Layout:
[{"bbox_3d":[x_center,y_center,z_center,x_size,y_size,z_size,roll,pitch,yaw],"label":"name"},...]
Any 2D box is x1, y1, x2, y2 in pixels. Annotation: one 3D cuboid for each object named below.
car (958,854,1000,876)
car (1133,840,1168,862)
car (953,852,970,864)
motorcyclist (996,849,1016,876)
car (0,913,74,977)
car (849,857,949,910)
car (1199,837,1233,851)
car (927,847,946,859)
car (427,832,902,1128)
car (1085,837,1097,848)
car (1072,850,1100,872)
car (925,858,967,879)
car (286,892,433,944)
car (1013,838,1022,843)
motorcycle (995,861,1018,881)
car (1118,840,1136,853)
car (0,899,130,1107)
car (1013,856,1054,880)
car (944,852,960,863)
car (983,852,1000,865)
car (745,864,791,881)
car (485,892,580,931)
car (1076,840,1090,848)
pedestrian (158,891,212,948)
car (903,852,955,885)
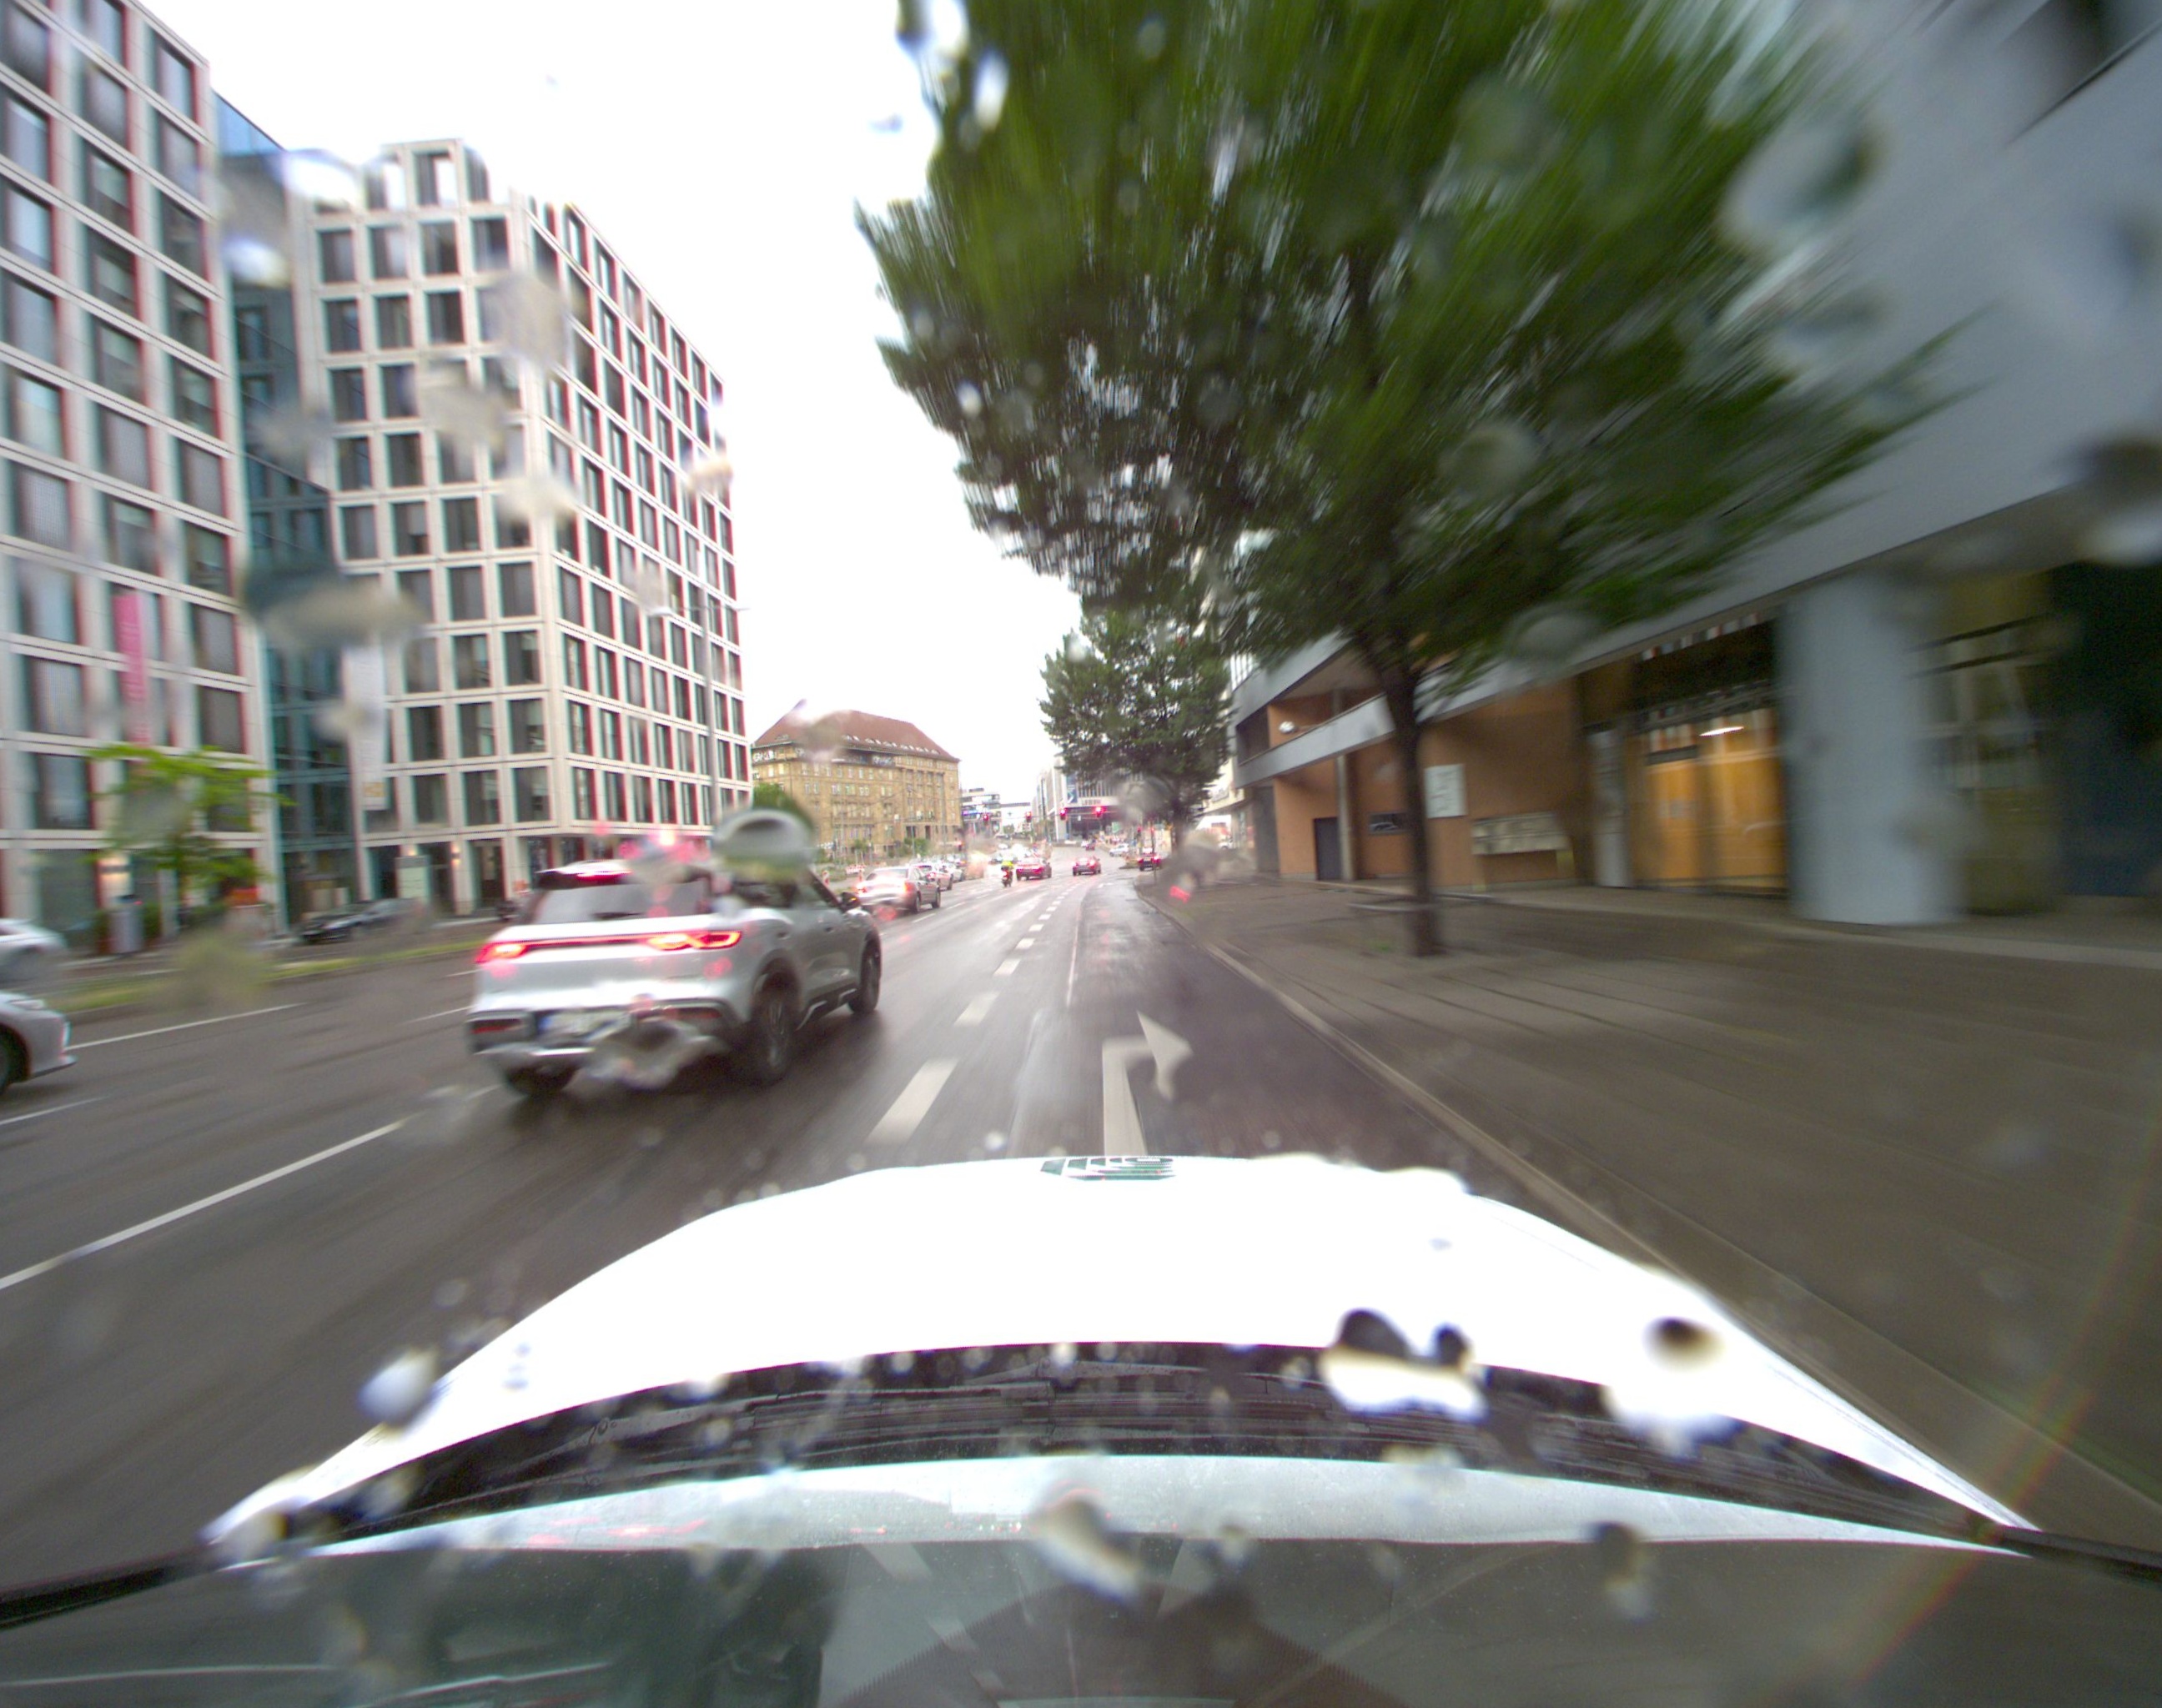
[{"bbox_3d":[-8.219,0.840,65.820,1.769,1.599,4.091,-3,0,17],"label":"car"},{"bbox_3d":[5.443,-0.258,63.258,1.877,1.544,4.010,-3,0,16],"label":"car"},{"bbox_3d":[-16.995,0.523,115.689,1.796,1.574,4.073,-3,0,-1],"label":"car"},{"bbox_3d":[-4.193,0.483,45.678,0.938,1.475,1.101,-3,0,2],"label":"motorcyclist"},{"bbox_3d":[-26.732,2.314,18.659,1.692,1.423,4.374,-5,0,1],"label":"car"},{"bbox_3d":[-5.603,0.866,25.610,1.724,1.403,4.389,-3,0,5],"label":"car"},{"bbox_3d":[17.635,-1.340,106.244,3.983,1.640,1.995,-3,0,-7],"label":"car"},{"bbox_3d":[-19.917,-0.133,112.349,1.692,1.519,3.875,-5,0,1],"label":"car"},{"bbox_3d":[-2.919,0.744,6.903,1.802,1.661,4.170,-3,0,0],"label":"car"},{"bbox_3d":[2.004,-2.377,163.772,1.989,2.013,3.997,-3,0,-2],"label":"car"},{"bbox_3d":[0.429,0.471,62.512,1.775,1.402,4.491,-3,2,4],"label":"car"},{"bbox_3d":[-9.786,1.053,59.291,1.773,1.373,4.003,-3,0,9],"label":"car"},{"bbox_3d":[-26.298,2.298,29.891,1.692,1.423,3.956,-5,0,1],"label":"car"},{"bbox_3d":[-15.917,-3.408,204.257,1.761,1.260,4.195,-3,0,1],"label":"car"},{"bbox_3d":[-4.163,0.932,45.679,0.938,0.989,2.296,-3,0,2],"label":"motorcycle"},{"bbox_3d":[6.396,-1.022,113.154,1.727,1.639,3.425,-3,3,-8],"label":"car"},{"bbox_3d":[-9.135,1.192,4.558,1.824,1.521,4.803,-3,0,2],"label":"car"},{"bbox_3d":[-3.325,0.953,58.219,1.876,1.514,5.013,-3,0,8],"label":"car"},{"bbox_3d":[-19.133,0.469,120.746,1.693,1.574,3.998,-3,0,-1],"label":"car"},{"bbox_3d":[-12.213,0.614,111.397,1.816,1.485,3.998,-4,1,-2],"label":"car"},{"bbox_3d":[-33.950,1.979,88.367,4.390,1.662,1.989,-3,0,-16],"label":"car"},{"bbox_3d":[-26.032,2.692,38.849,1.692,1.423,3.956,-5,0,1],"label":"car"},{"bbox_3d":[0.454,-2.310,194.011,2.000,1.816,3.974,-3,0,-19],"label":"car"},{"bbox_3d":[-29.029,2.098,26.400,0.611,1.734,0.966,-3,0,-2],"label":"pedestrian"},{"bbox_3d":[-8.227,0.744,44.367,1.724,1.616,4.006,-3,0,5],"label":"car"}]
